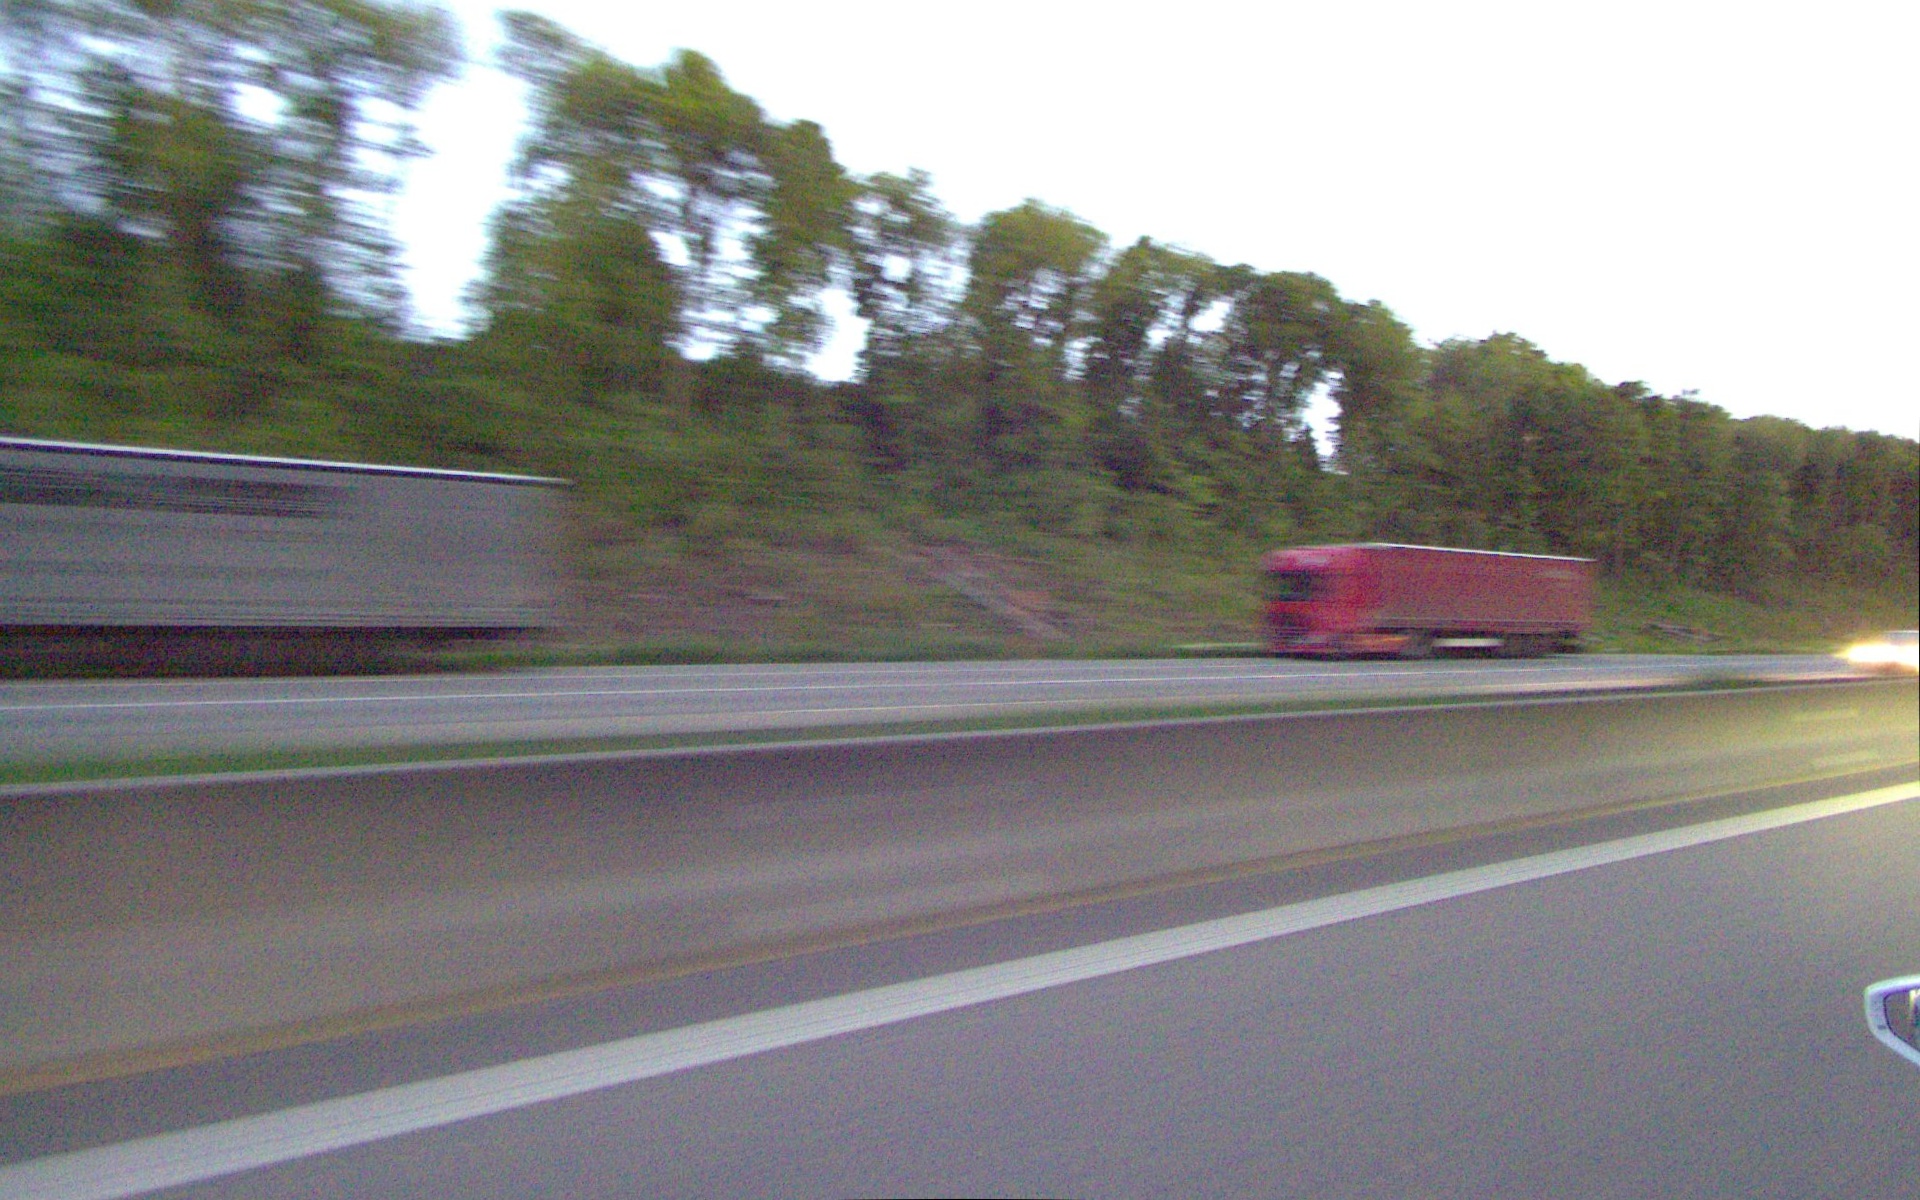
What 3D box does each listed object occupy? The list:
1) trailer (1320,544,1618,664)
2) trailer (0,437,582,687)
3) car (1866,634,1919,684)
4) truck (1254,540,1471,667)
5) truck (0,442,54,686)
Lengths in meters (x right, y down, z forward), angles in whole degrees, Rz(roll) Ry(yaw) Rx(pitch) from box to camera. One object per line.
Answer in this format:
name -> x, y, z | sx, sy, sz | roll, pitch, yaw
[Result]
trailer -> 20.353, 0.352, 39.584 | 14.011, 4.159, 3.177 | 2, -1, -29
trailer -> -14.727, -0.559, 19.338 | 13.575, 4.159, 3.177 | 2, -1, -30
car -> 31.908, 1.932, 33.187 | 4.362, 1.535, 1.678 | 2, -1, -30
truck -> 14.620, 0.236, 36.357 | 7.596, 4.159, 3.177 | 2, -1, -29
truck -> -20.213, -0.716, 16.243 | 7.596, 4.159, 3.177 | 2, -1, -29
